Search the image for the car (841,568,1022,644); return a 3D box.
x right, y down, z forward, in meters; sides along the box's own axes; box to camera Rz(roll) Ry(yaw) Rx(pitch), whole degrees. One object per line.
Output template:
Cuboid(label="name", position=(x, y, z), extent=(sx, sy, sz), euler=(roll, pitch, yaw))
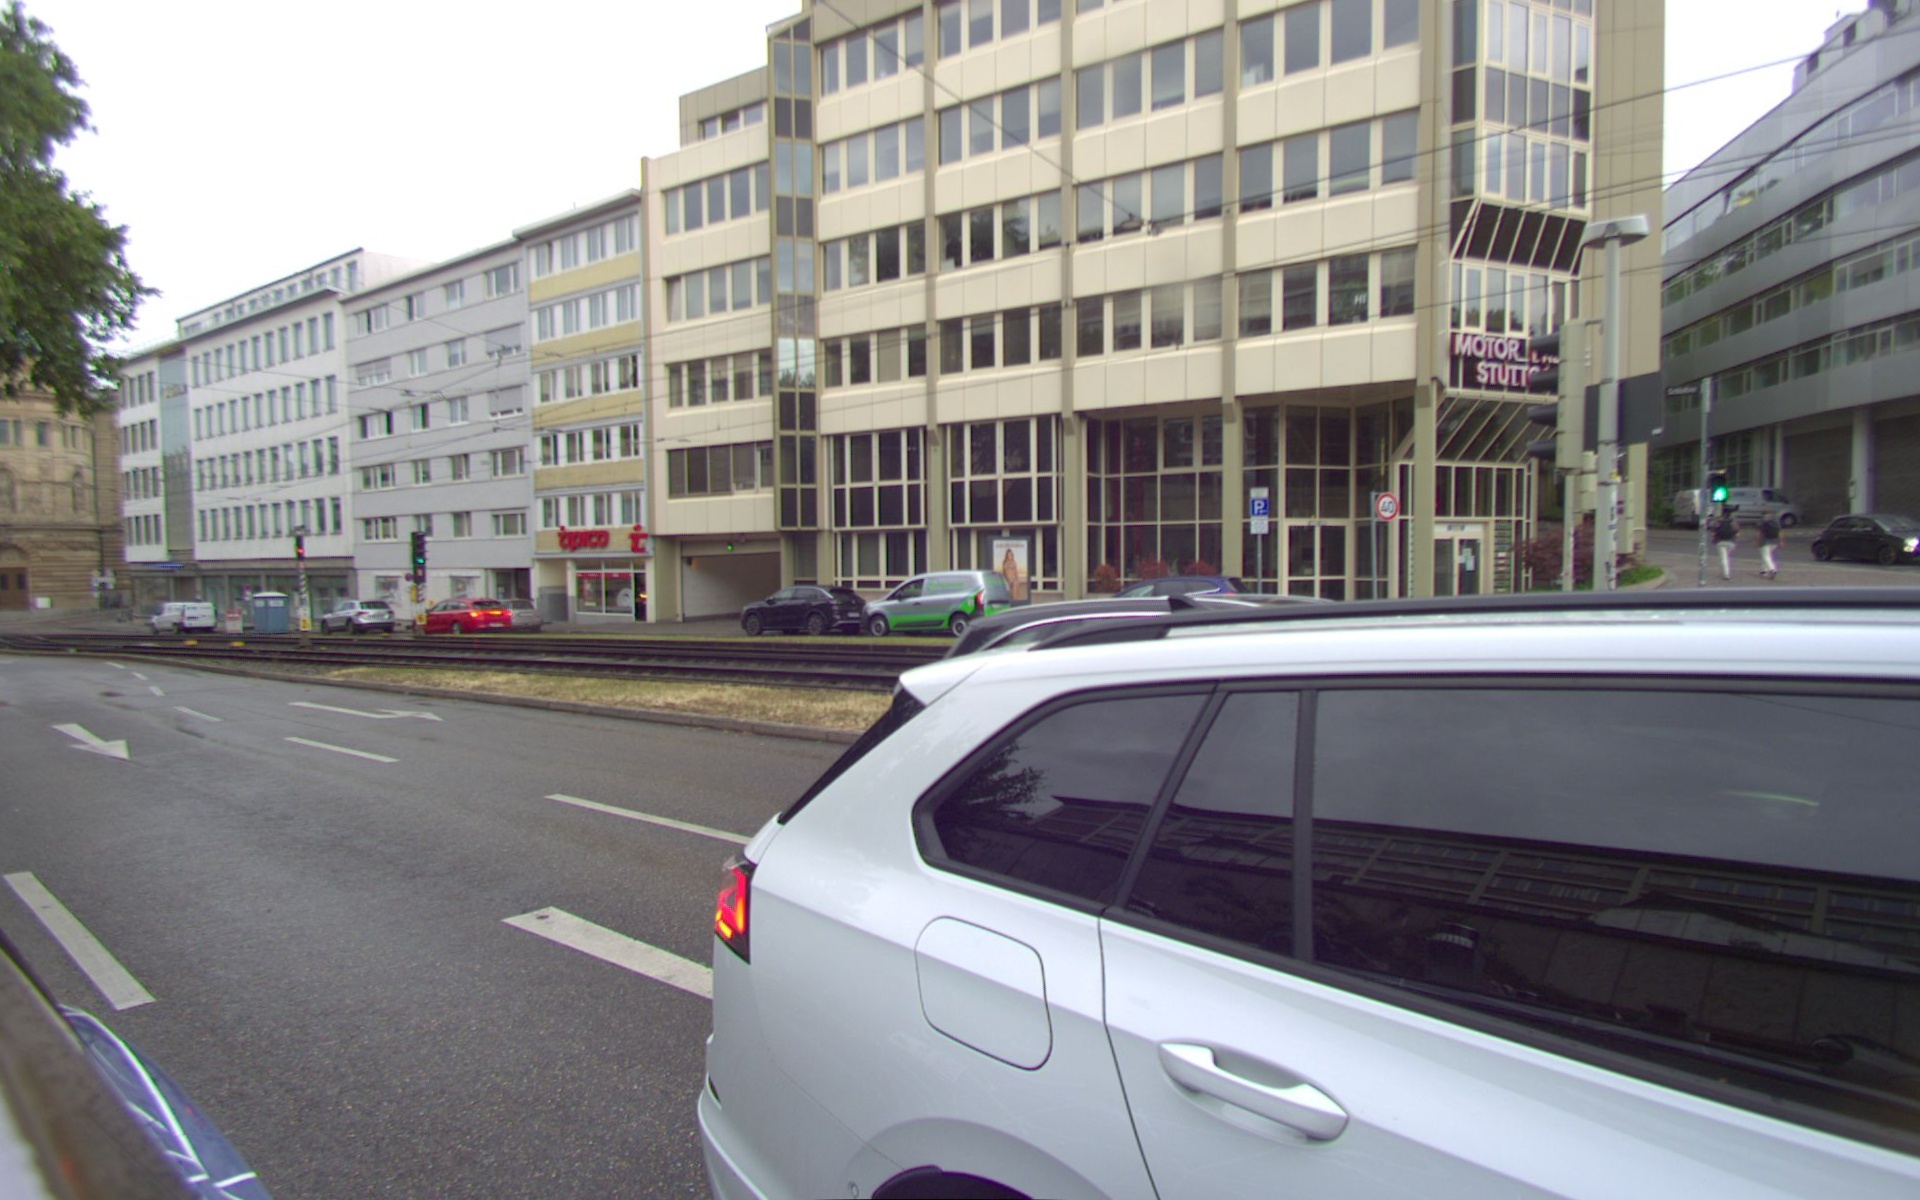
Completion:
Cuboid(label="car", position=(-0.830, 0.126, 28.010), extent=(4.682, 1.863, 1.978), euler=(0, 4, 34))

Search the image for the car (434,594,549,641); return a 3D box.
Cuboid(label="car", position=(-18.927, 0.661, 40.842), extent=(4.682, 1.686, 1.978), euler=(0, 4, 34))

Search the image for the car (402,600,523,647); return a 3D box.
Cuboid(label="car", position=(-18.087, 0.798, 36.738), extent=(4.315, 1.498, 1.978), euler=(0, 4, 33))

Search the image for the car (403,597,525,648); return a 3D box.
Cuboid(label="car", position=(-18.064, 0.780, 36.821), extent=(4.403, 1.652, 1.965), euler=(0, 3, 33))

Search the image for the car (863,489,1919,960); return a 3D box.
Cuboid(label="car", position=(1.863, 0.392, 5.355), extent=(4.638, 1.478, 1.974), euler=(-2, 2, 39))

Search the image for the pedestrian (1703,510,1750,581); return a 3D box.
Cuboid(label="pedestrian", position=(19.904, -1.413, 26.292), extent=(0.804, 1.800, 0.637), euler=(-1, 3, 18))

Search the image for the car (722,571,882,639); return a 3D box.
Cuboid(label="car", position=(-4.860, 0.128, 30.925), extent=(4.682, 1.863, 1.978), euler=(0, 4, 34))

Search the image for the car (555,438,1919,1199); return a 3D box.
Cuboid(label="car", position=(1.342, 0.653, 1.278), extent=(4.251, 1.588, 1.662), euler=(-1, 1, 41))

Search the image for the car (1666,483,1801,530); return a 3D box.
Cuboid(label="car", position=(37.293, -4.486, 48.923), extent=(4.779, 2.028, 1.996), euler=(-2, 3, 8))

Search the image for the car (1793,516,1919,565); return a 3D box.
Cuboid(label="car", position=(27.673, -1.802, 30.402), extent=(1.803, 1.374, 4.004), euler=(-2, 3, -3))

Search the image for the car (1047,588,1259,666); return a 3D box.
Cuboid(label="car", position=(4.548, 0.581, 24.075), extent=(4.536, 1.593, 1.978), euler=(0, 4, 34))

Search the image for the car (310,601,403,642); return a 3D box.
Cuboid(label="car", position=(-28.338, 1.006, 47.444), extent=(4.686, 1.686, 1.977), euler=(-2, 3, 36))

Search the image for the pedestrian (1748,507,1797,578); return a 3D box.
Cuboid(label="pedestrian", position=(21.021, -1.482, 26.192), extent=(0.804, 1.800, 0.637), euler=(-1, 3, 18))

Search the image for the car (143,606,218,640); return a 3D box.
Cuboid(label="car", position=(-46.815, 1.349, 60.758), extent=(5.117, 1.856, 1.978), euler=(0, 4, 34))
